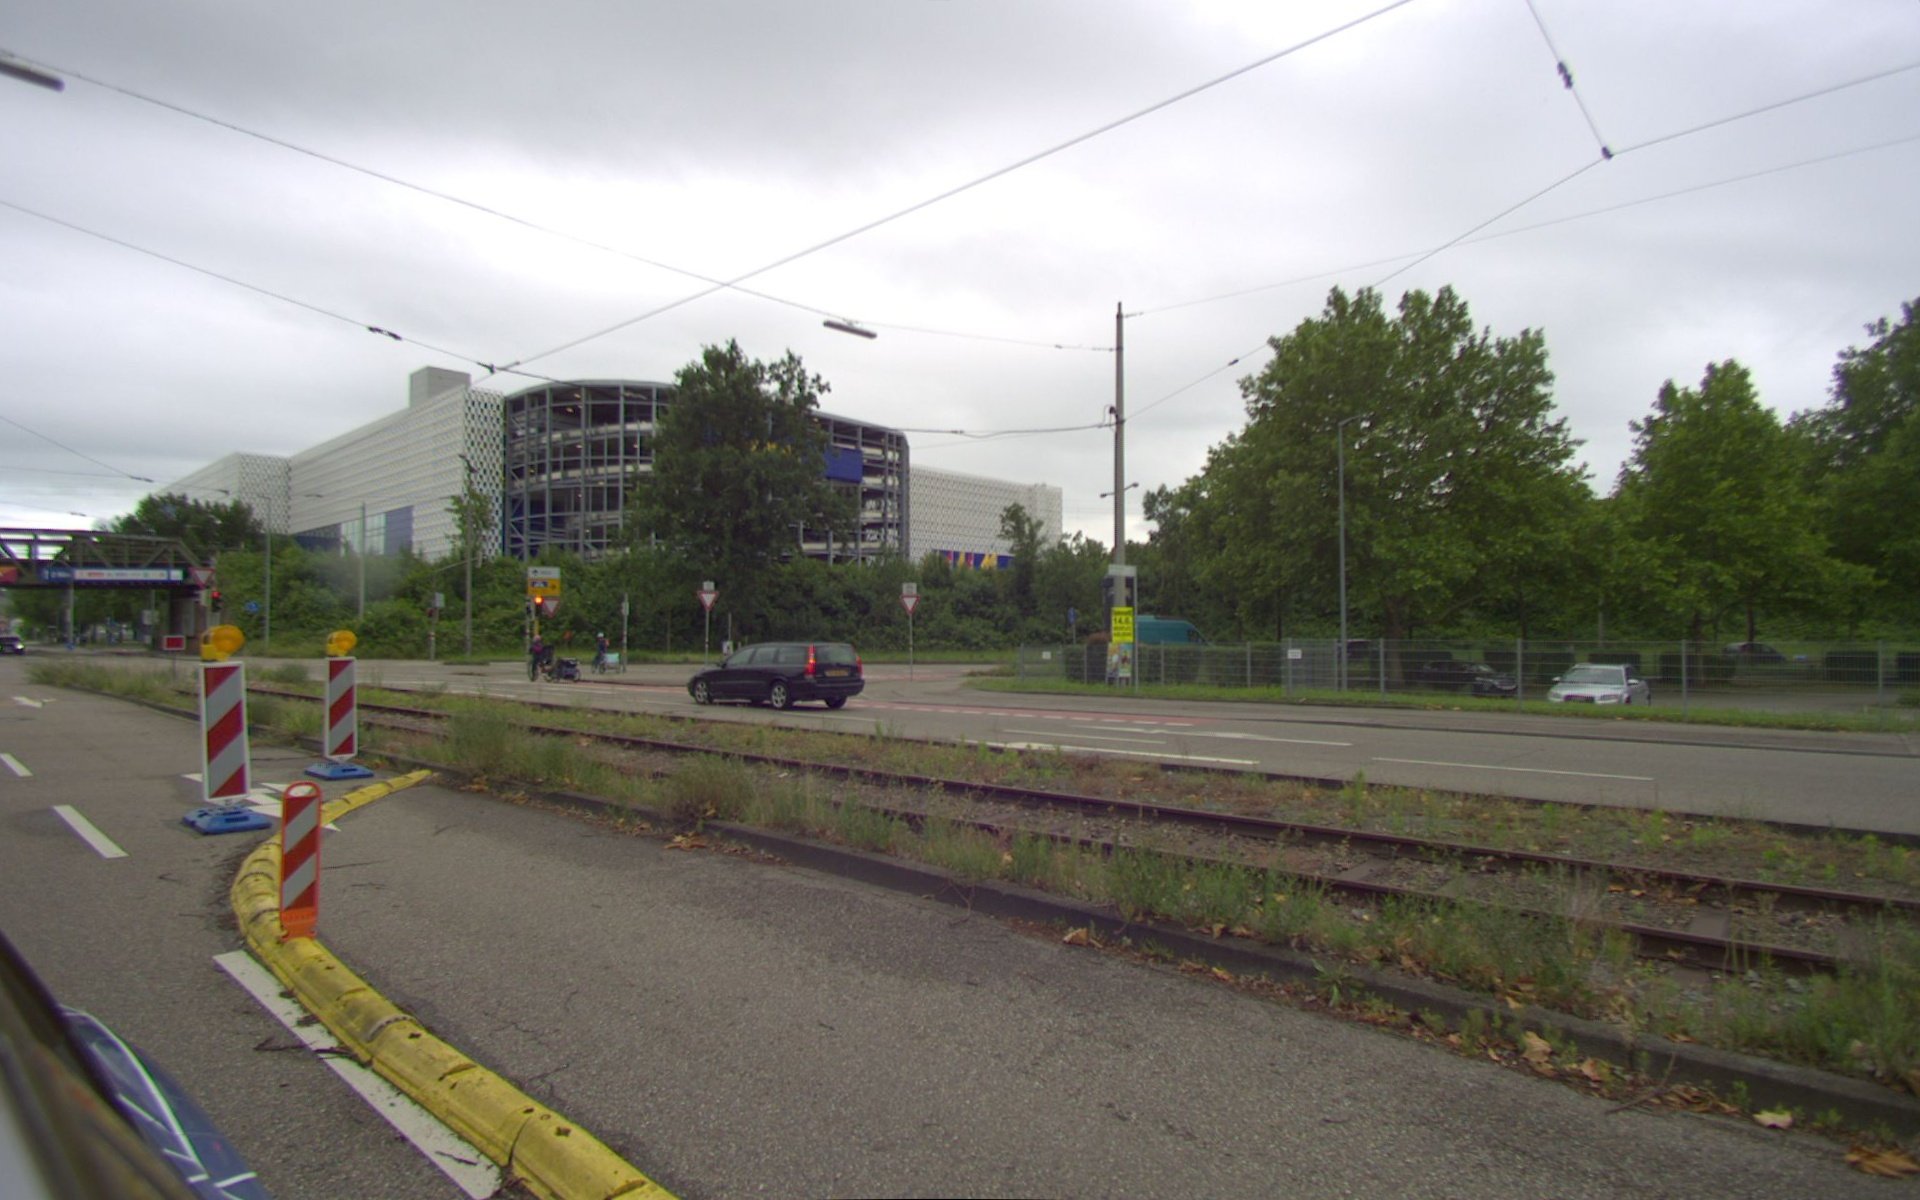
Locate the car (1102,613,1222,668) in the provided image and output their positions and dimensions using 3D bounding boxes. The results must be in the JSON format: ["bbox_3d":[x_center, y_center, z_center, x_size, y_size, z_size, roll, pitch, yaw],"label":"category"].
[{"bbox_3d":[10.766,2.148,54.021,5.847,2.847,2.343,1,-2,-17],"label":"car"}]

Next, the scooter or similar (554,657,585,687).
[{"bbox_3d":[-13.223,2.431,34.258,0.832,0.914,1.201,-1,-1,-29],"label":"scooter or similar"}]

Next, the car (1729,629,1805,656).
[{"bbox_3d":[50.000,2.634,62.752,3.608,1.539,1.779,-1,-1,-13],"label":"car"}]

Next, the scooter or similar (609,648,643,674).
[{"bbox_3d":[-14.176,2.596,42.947,1.446,1.070,0.640,-3,-1,34],"label":"scooter or similar"}]

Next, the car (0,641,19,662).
[{"bbox_3d":[-68.632,3.660,72.252,4.000,1.435,1.812,-3,-2,43],"label":"car"}]

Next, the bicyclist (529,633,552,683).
[{"bbox_3d":[-14.716,2.024,35.466,0.636,1.696,0.688,-1,-1,-29],"label":"bicyclist"}]

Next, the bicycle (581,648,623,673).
[{"bbox_3d":[-15.571,2.630,43.969,1.995,1.070,0.640,-3,-1,34],"label":"bicycle"}]

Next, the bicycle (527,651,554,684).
[{"bbox_3d":[-14.712,2.352,35.472,0.636,1.070,2.030,-1,-1,-29],"label":"bicycle"}]

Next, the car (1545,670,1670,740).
[{"bbox_3d":[16.754,2.631,26.110,1.913,1.544,4.164,-2,-3,44],"label":"car"}]

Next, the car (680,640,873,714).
[{"bbox_3d":[-4.146,1.637,22.553,4.422,1.484,1.801,-2,-3,39],"label":"car"}]

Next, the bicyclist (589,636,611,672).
[{"bbox_3d":[-15.645,2.358,44.020,0.625,1.530,0.640,-3,-2,34],"label":"bicyclist"}]
